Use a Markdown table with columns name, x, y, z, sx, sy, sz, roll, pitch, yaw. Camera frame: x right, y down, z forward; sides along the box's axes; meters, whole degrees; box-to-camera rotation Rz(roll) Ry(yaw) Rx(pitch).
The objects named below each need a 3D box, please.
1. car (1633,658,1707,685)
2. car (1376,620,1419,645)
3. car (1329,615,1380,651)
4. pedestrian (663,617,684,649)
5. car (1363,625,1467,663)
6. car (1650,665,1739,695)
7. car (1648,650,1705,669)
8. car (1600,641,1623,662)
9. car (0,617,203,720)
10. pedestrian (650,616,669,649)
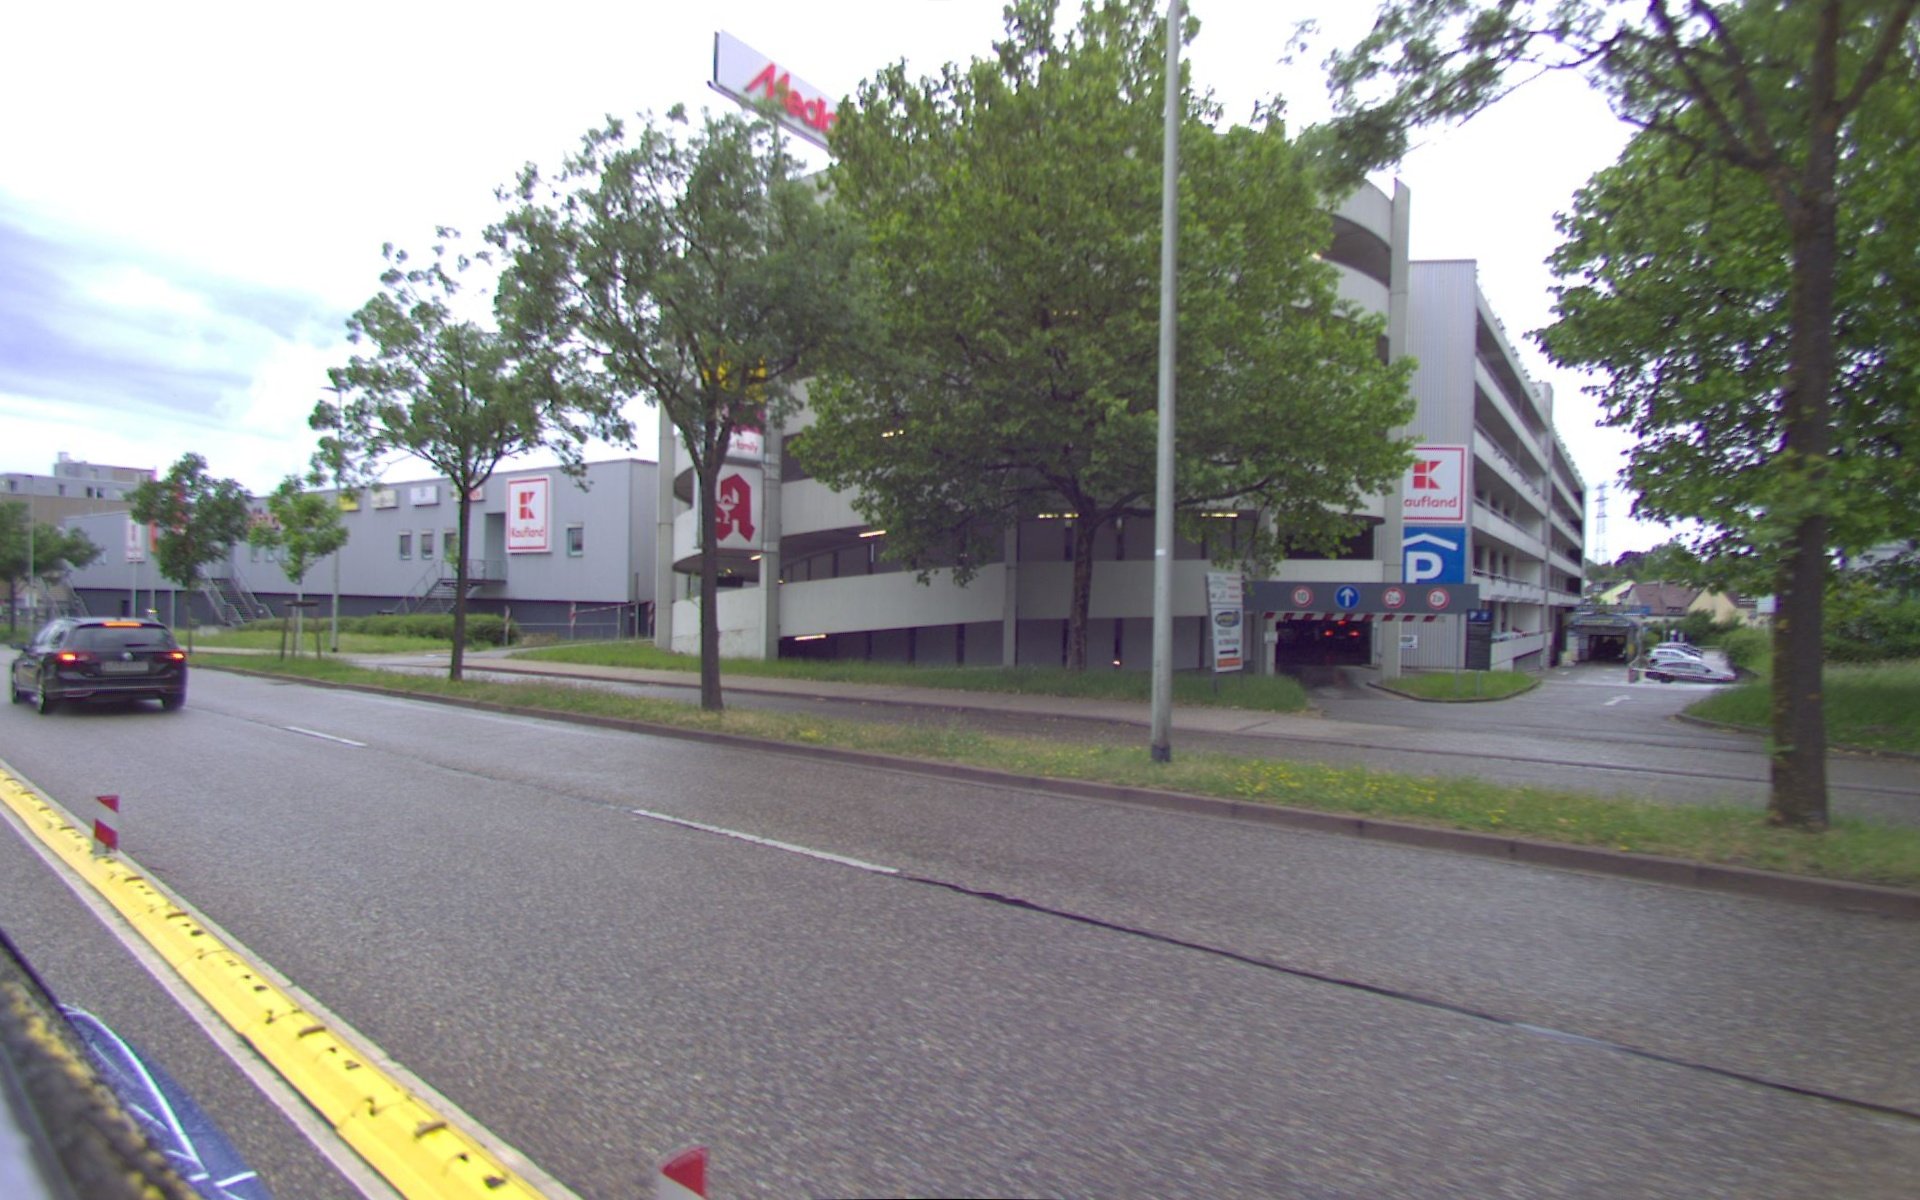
| name | x | y | z | sx | sy | sz | roll | pitch | yaw |
| --- | --- | --- | --- | --- | --- | --- | --- | --- | --- |
| car | 47.465 | 4.772 | 67.690 | 3.994 | 1.521 | 1.777 | 0 | 1 | 38 |
| car | 28.160 | 2.085 | 65.066 | 1.796 | 1.522 | 3.952 | -1 | -2 | 35 |
| car | 21.454 | 1.758 | 54.955 | 1.855 | 1.708 | 3.955 | -1 | 1 | 33 |
| pedestrian | -14.115 | 1.623 | 49.922 | 0.852 | 1.587 | 0.449 | -1 | 1 | 9 |
| car | 20.261 | 1.947 | 45.127 | 3.787 | 1.473 | 1.754 | -1 | 1 | -3 |
| car | 41.812 | 4.522 | 57.710 | 3.990 | 1.522 | 1.779 | -1 | -2 | 35 |
| car | 62.333 | 5.133 | 88.062 | 3.993 | 1.522 | 1.777 | -1 | -2 | 37 |
| car | 64.795 | 5.102 | 100.614 | 1.864 | 2.029 | 3.954 | -1 | -2 | 34 |
| car | -14.250 | 1.040 | 16.687 | 4.613 | 1.477 | 1.808 | -1 | -3 | 40 |
| pedestrian | -15.001 | 1.624 | 50.448 | 0.859 | 1.587 | 0.445 | -1 | 1 | 35 |
